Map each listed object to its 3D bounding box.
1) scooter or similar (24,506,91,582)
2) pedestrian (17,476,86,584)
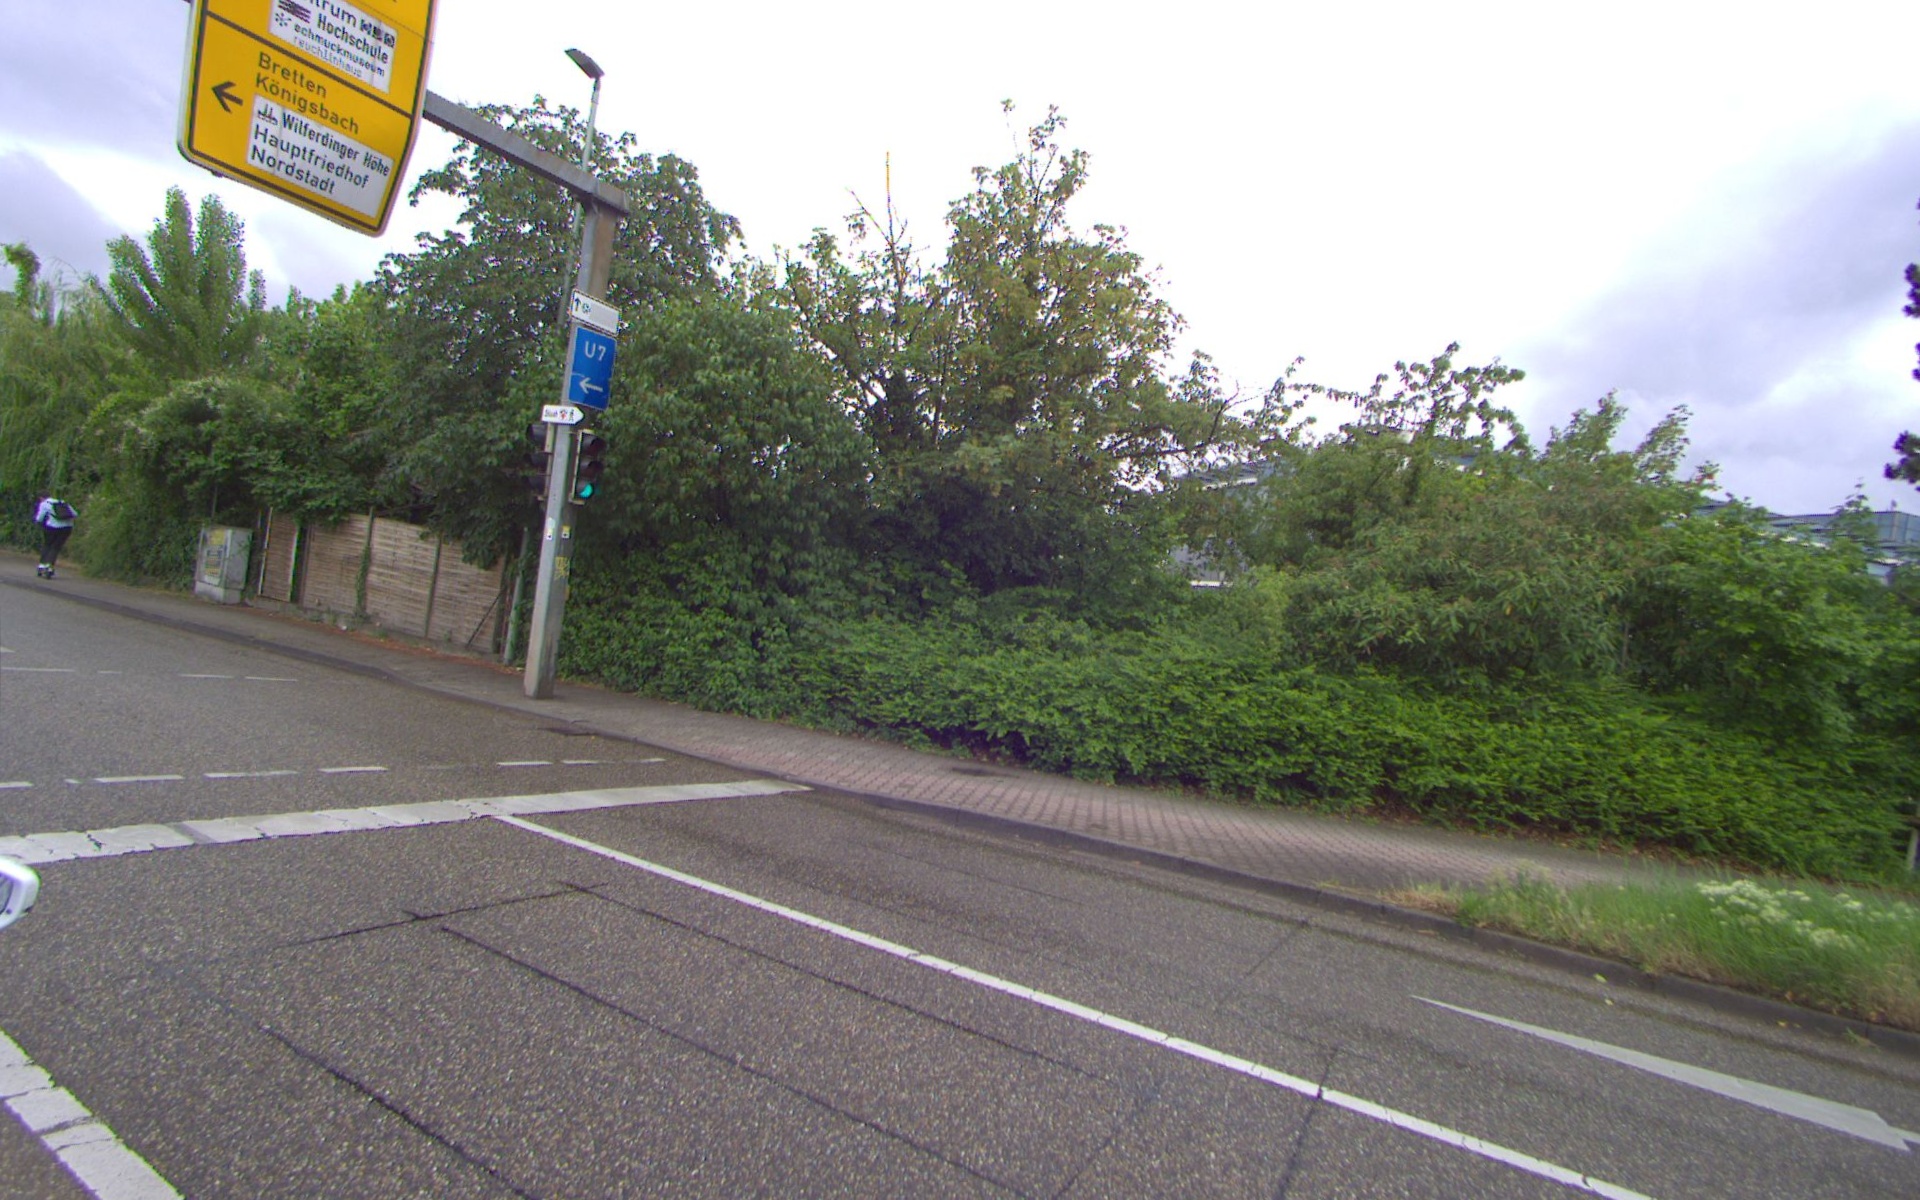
[{"bbox_3d":[-18.156,-1.128,20.239,1.361,1.378,0.462,7,0,28],"label":"scooter or similar"},{"bbox_3d":[-18.248,-1.399,20.208,0.705,2.026,0.657,7,0,26],"label":"pedestrian"}]
